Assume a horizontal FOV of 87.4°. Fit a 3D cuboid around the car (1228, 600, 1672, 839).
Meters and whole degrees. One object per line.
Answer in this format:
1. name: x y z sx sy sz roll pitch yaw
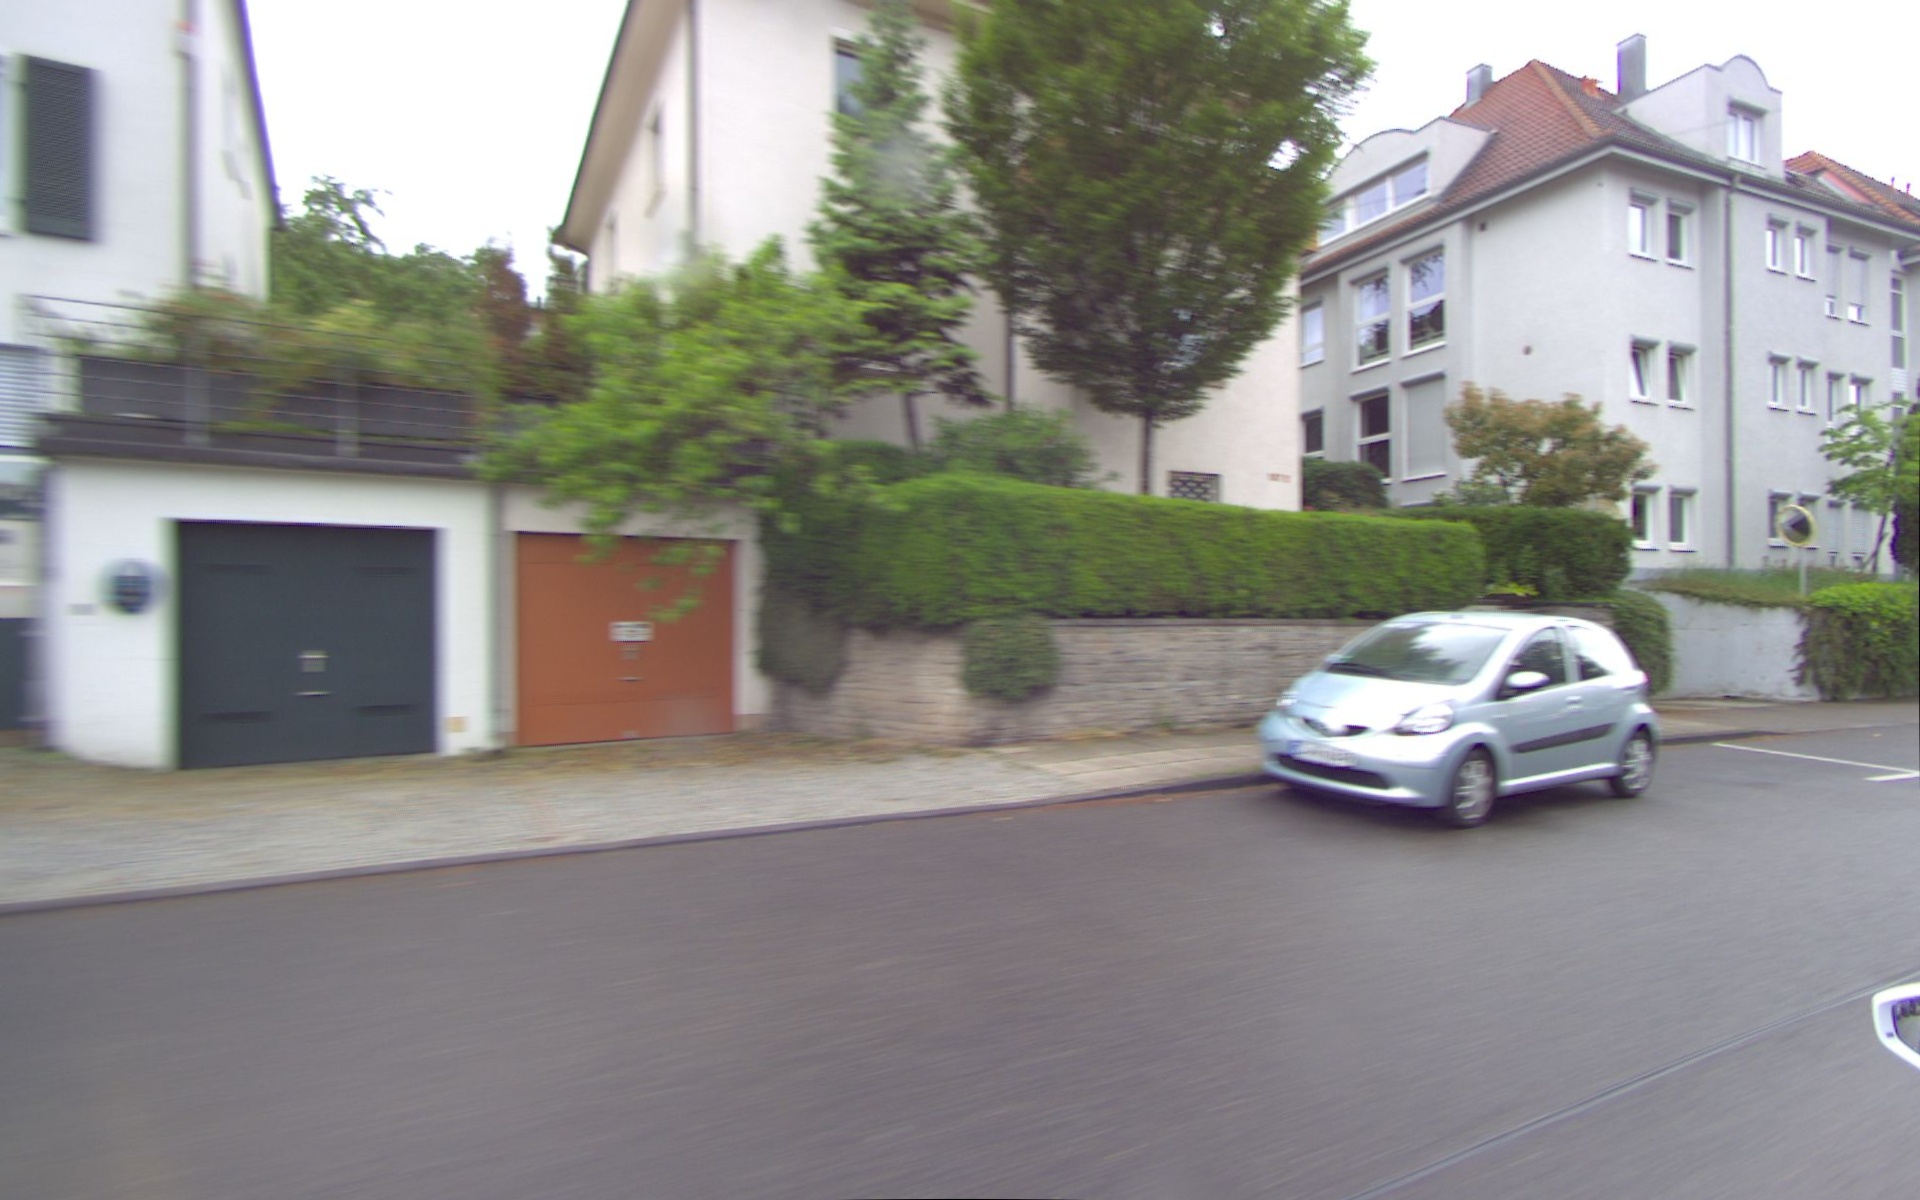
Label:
1. car: 3.963 0.789 8.015 3.448 1.506 1.596 1 0 -32
